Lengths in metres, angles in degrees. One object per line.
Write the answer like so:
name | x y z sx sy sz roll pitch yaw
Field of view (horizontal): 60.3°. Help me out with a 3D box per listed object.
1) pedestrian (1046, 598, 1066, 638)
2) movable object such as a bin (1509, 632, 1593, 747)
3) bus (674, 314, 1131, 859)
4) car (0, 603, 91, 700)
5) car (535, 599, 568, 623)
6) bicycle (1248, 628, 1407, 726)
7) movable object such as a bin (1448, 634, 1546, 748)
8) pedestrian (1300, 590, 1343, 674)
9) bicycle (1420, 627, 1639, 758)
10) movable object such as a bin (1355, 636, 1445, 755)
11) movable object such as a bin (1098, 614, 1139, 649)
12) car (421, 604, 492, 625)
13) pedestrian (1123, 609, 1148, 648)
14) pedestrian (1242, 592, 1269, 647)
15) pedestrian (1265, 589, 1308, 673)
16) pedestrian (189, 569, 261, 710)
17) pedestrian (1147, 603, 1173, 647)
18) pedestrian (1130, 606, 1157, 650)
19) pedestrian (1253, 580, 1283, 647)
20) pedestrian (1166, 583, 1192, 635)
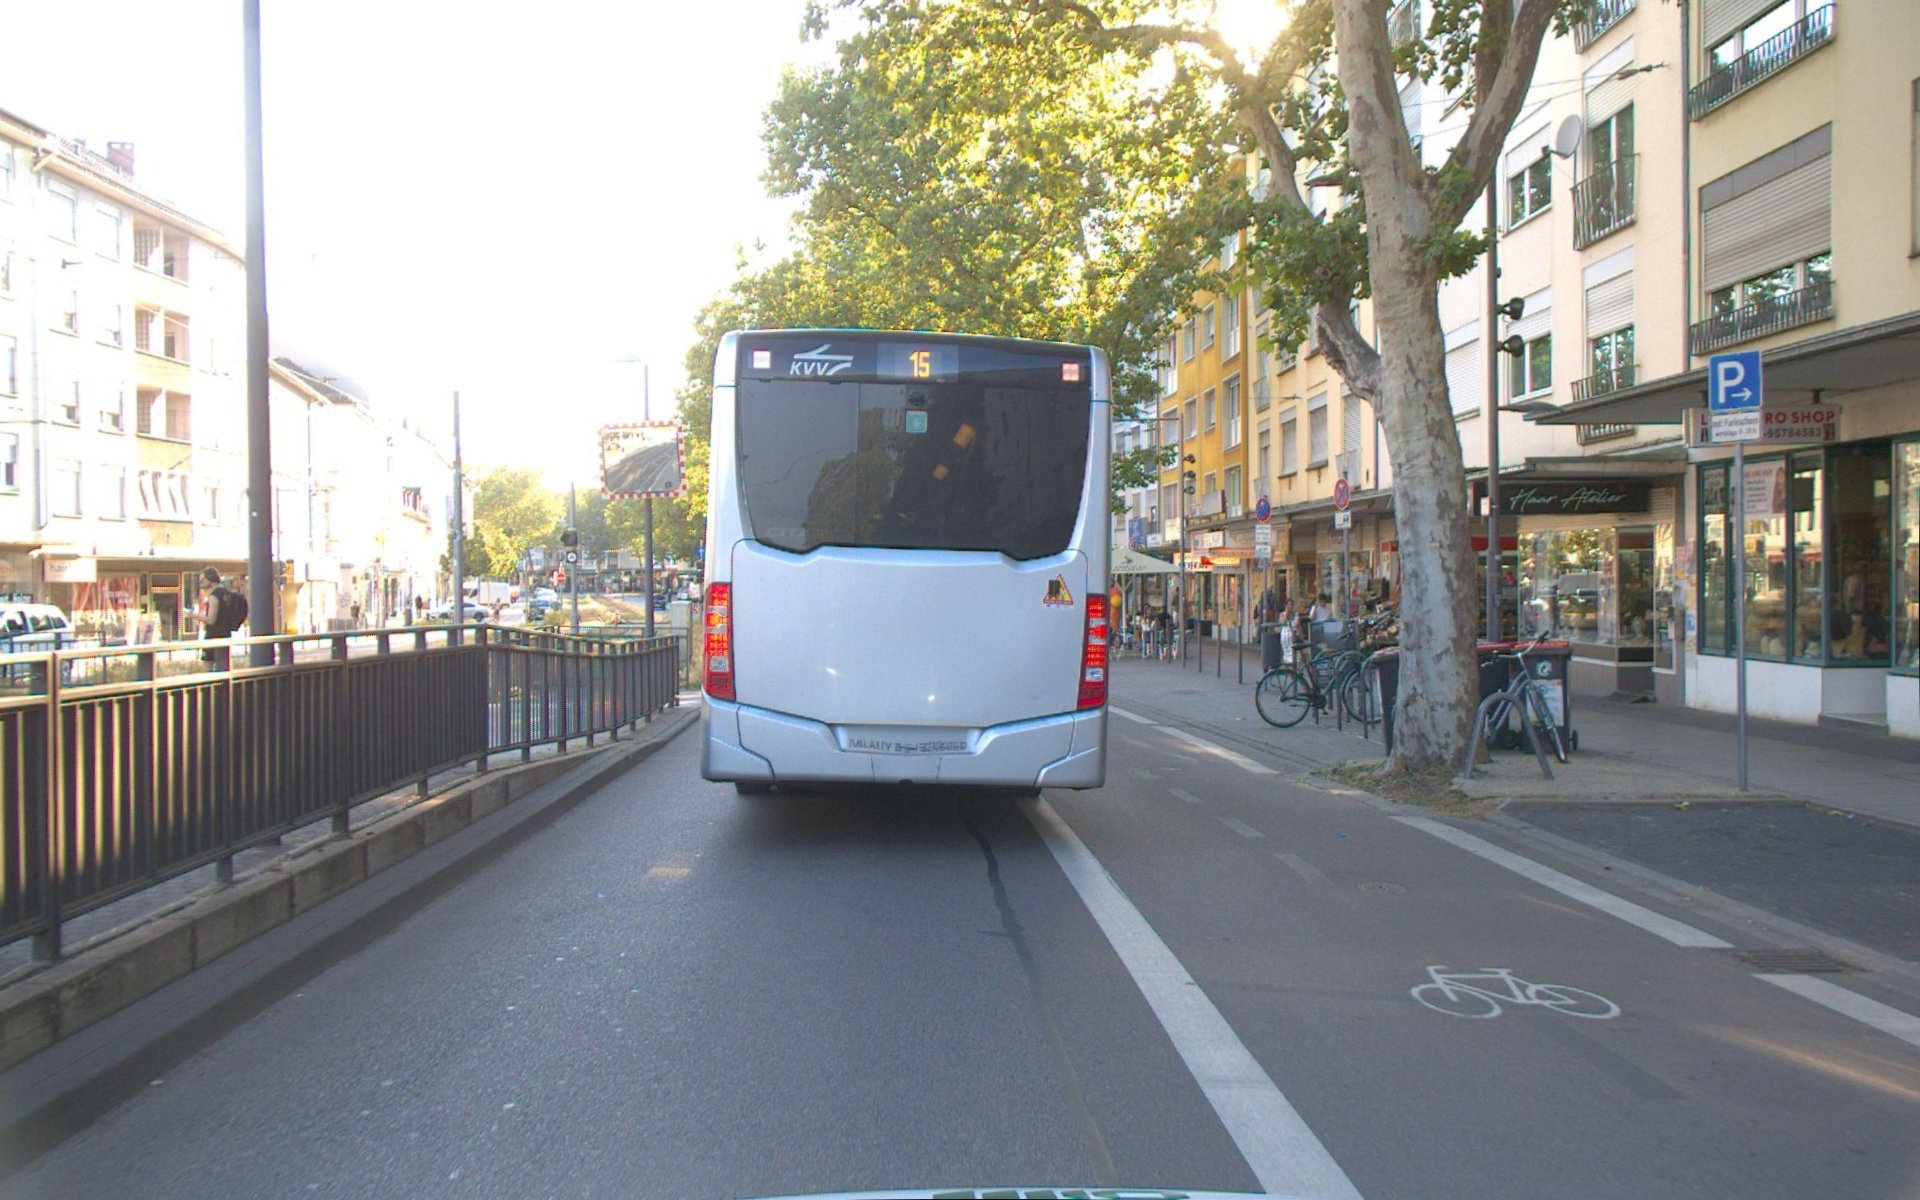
pedestrian | 4.397 0.826 75.572 0.766 1.825 0.763 -1 0 -9
movable object such as a bin | 5.851 0.882 16.407 0.707 1.090 0.644 -2 -1 17
bus | -0.521 -0.079 13.166 2.625 3.137 7.109 1 0 -3
car | -18.583 0.966 31.423 1.954 1.747 4.433 -1 0 -3
car | -27.611 0.734 111.910 1.690 1.535 3.470 -3 0 -7
bicycle | 4.649 0.974 20.978 1.867 1.124 0.518 -3 0 5
movable object such as a bin | 5.447 0.908 16.809 0.708 1.090 0.643 -3 -1 -4
pedestrian | 7.132 0.625 32.650 0.610 1.614 0.626 -3 0 -3
bicycle | 5.061 0.830 14.765 1.683 1.137 0.745 0 -4 -1
movable object such as a bin | 4.485 0.962 16.884 0.707 1.121 0.644 -4 0 5
movable object such as a bin | 4.894 0.969 51.047 0.917 1.041 0.831 1 0 -31
car | -35.808 1.046 117.724 1.967 1.437 4.519 -1 0 45
pedestrian | 5.313 0.861 50.139 0.572 1.135 0.749 1 0 -8
pedestrian | 8.474 0.560 47.419 0.612 1.573 0.637 -1 0 22
pedestrian | 6.437 0.598 32.645 0.623 1.614 0.626 -3 0 -3
pedestrian | -9.979 0.529 22.486 0.727 1.881 0.589 -1 0 -7
pedestrian | 5.989 0.748 49.539 0.572 1.297 0.757 1 0 -8
pedestrian | 5.304 0.807 47.807 0.594 1.246 0.744 0 0 -8
pedestrian | 8.512 0.382 45.707 0.623 1.835 0.626 -1 0 27
pedestrian | 7.843 0.312 59.355 0.693 1.822 0.787 -4 0 -3
